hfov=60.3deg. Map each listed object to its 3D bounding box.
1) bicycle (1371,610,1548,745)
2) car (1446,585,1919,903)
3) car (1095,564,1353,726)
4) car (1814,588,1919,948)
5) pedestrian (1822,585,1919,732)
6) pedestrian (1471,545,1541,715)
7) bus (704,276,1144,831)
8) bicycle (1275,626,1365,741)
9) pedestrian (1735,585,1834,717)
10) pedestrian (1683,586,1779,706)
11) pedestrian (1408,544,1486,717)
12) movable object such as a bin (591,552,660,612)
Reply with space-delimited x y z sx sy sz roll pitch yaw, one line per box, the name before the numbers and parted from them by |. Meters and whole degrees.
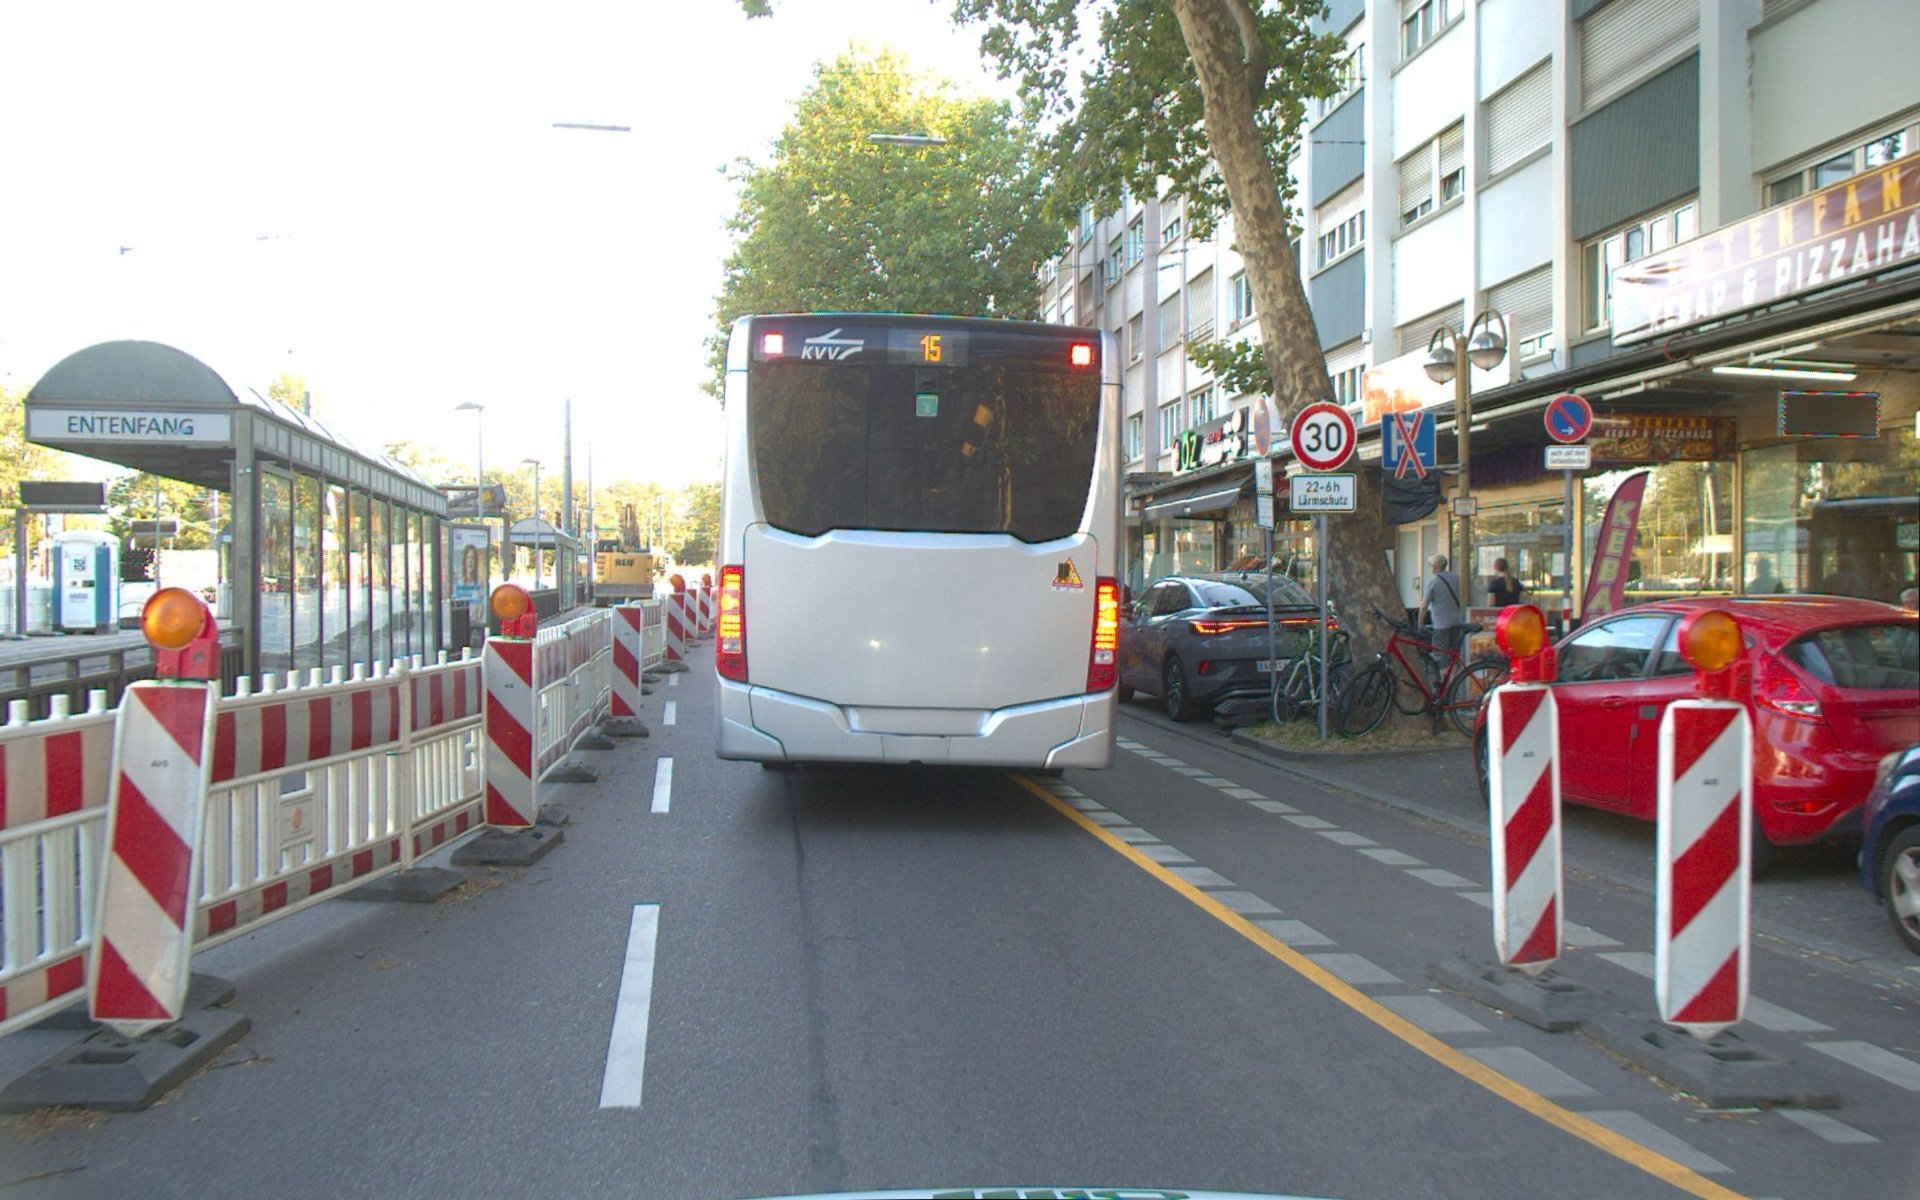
bicycle | 4.428 0.689 14.706 1.429 1.084 0.296 -4 4 7
car | 4.604 0.680 10.044 1.636 1.454 3.839 -3 1 -9
car | 2.970 0.444 19.536 1.708 1.625 4.290 -2 1 -9
car | 4.965 0.703 5.922 1.588 1.491 3.599 -2 1 -8
pedestrian | 8.349 0.514 14.846 0.846 1.242 0.698 -3 0 9
pedestrian | 6.720 0.362 20.374 0.600 2.049 0.696 0 0 -5
bus | -0.456 -0.305 14.842 2.556 3.225 10.286 1 0 -3
bicycle | 3.342 0.758 15.411 0.290 0.943 1.126 -5 4 -15
pedestrian | 8.251 0.499 16.569 0.602 1.265 0.712 -3 0 4
pedestrian | 8.195 0.479 17.604 0.663 1.224 0.705 -3 0 5
pedestrian | 5.875 0.357 19.989 0.678 2.049 0.695 0 0 -8
movable object such as a bin | -14.433 -0.787 71.542 2.755 2.505 3.991 0 1 -10
